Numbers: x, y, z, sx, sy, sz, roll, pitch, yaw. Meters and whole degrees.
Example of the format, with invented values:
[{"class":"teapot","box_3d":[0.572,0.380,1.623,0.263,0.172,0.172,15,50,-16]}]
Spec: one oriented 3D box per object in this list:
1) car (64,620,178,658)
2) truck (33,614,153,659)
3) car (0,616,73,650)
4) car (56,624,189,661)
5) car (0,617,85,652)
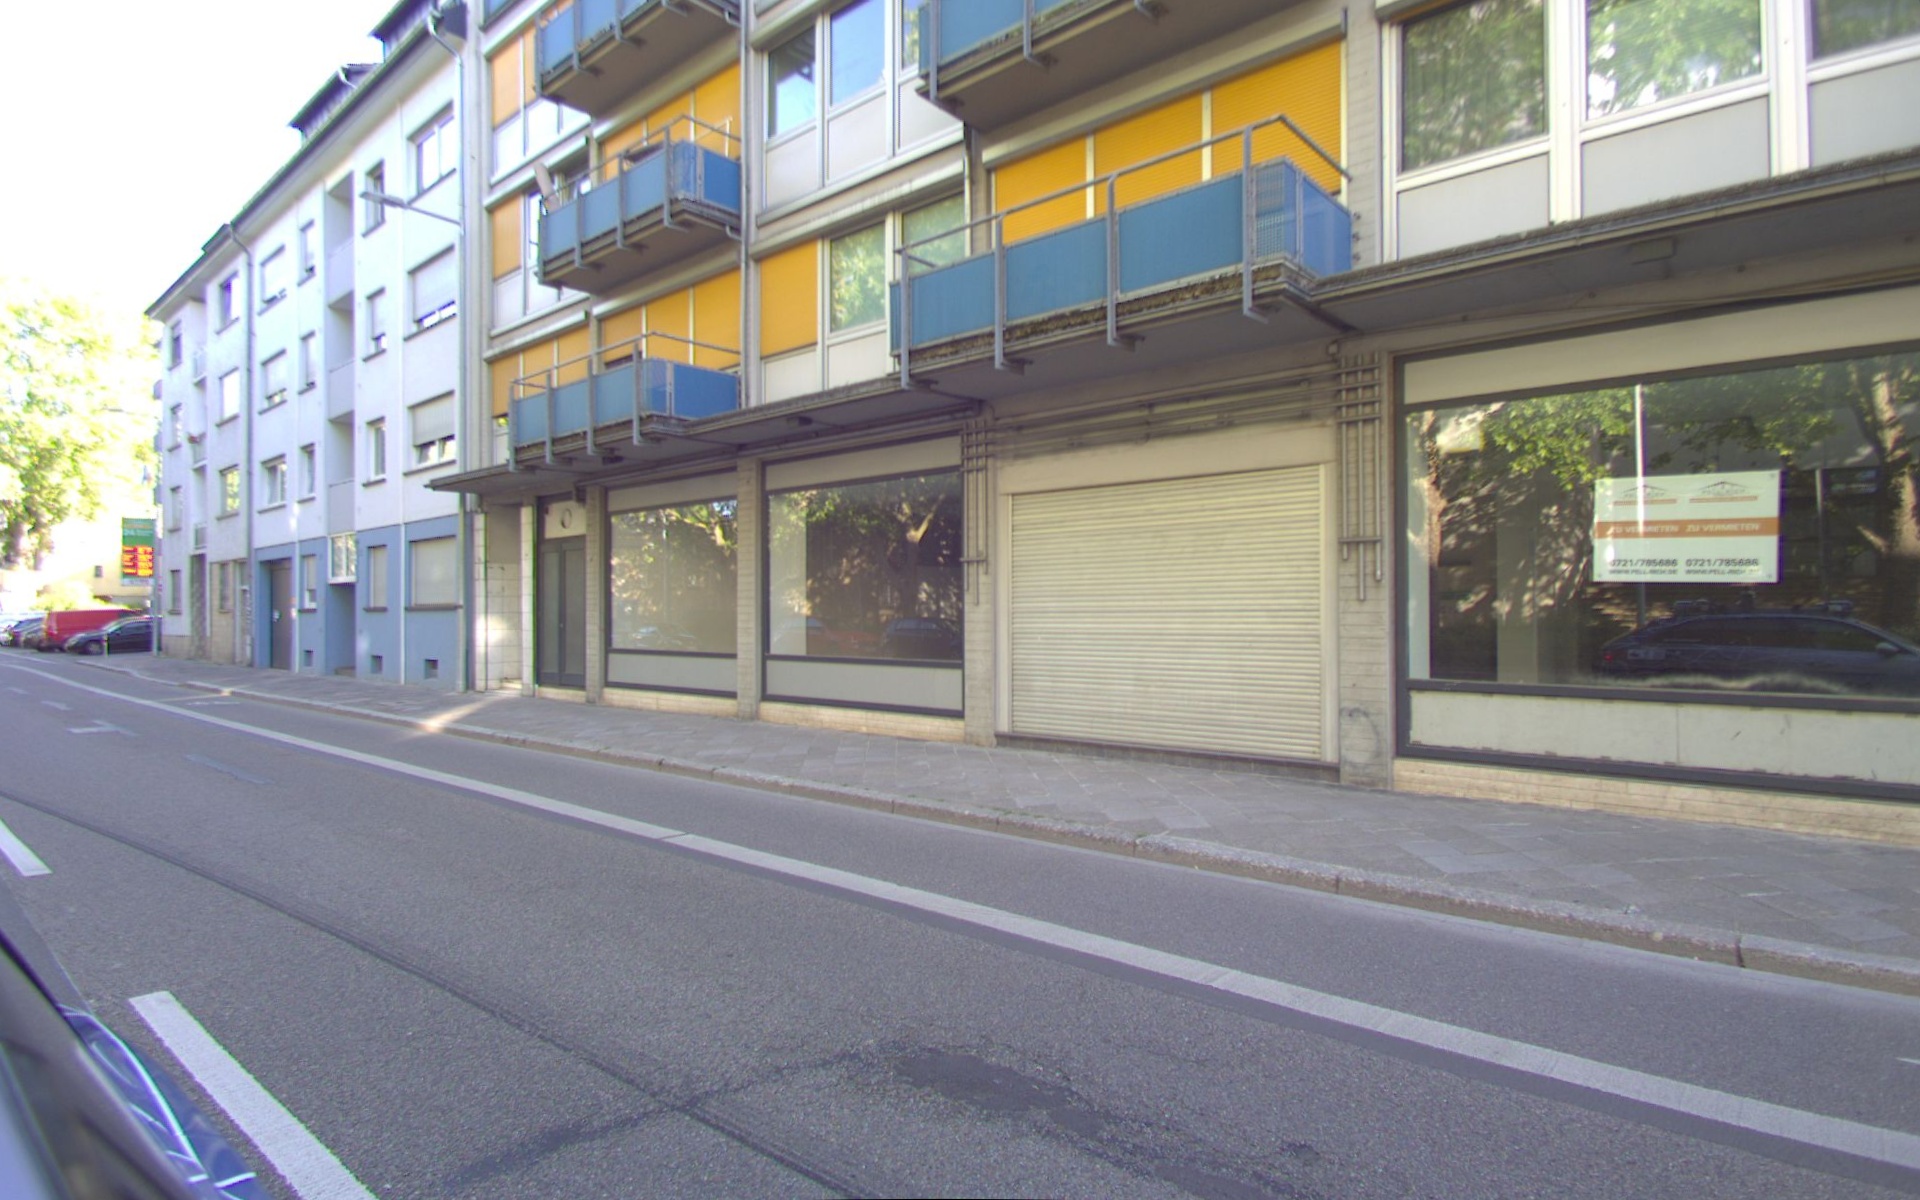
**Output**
[{"class":"car","box_3d":[-38.023,1.733,45.939,1.657,1.583,3.762,-1,0,41]},{"class":"truck","box_3d":[-40.702,1.651,47.572,1.999,1.939,4.040,-1,0,40]},{"class":"car","box_3d":[-59.319,2.099,64.400,2.000,2.052,4.180,-1,0,43]},{"class":"car","box_3d":[-36.473,1.796,44.155,1.657,1.417,4.269,-1,0,40]},{"class":"car","box_3d":[-56.036,2.070,61.470,2.000,1.971,4.180,-1,0,43]}]
